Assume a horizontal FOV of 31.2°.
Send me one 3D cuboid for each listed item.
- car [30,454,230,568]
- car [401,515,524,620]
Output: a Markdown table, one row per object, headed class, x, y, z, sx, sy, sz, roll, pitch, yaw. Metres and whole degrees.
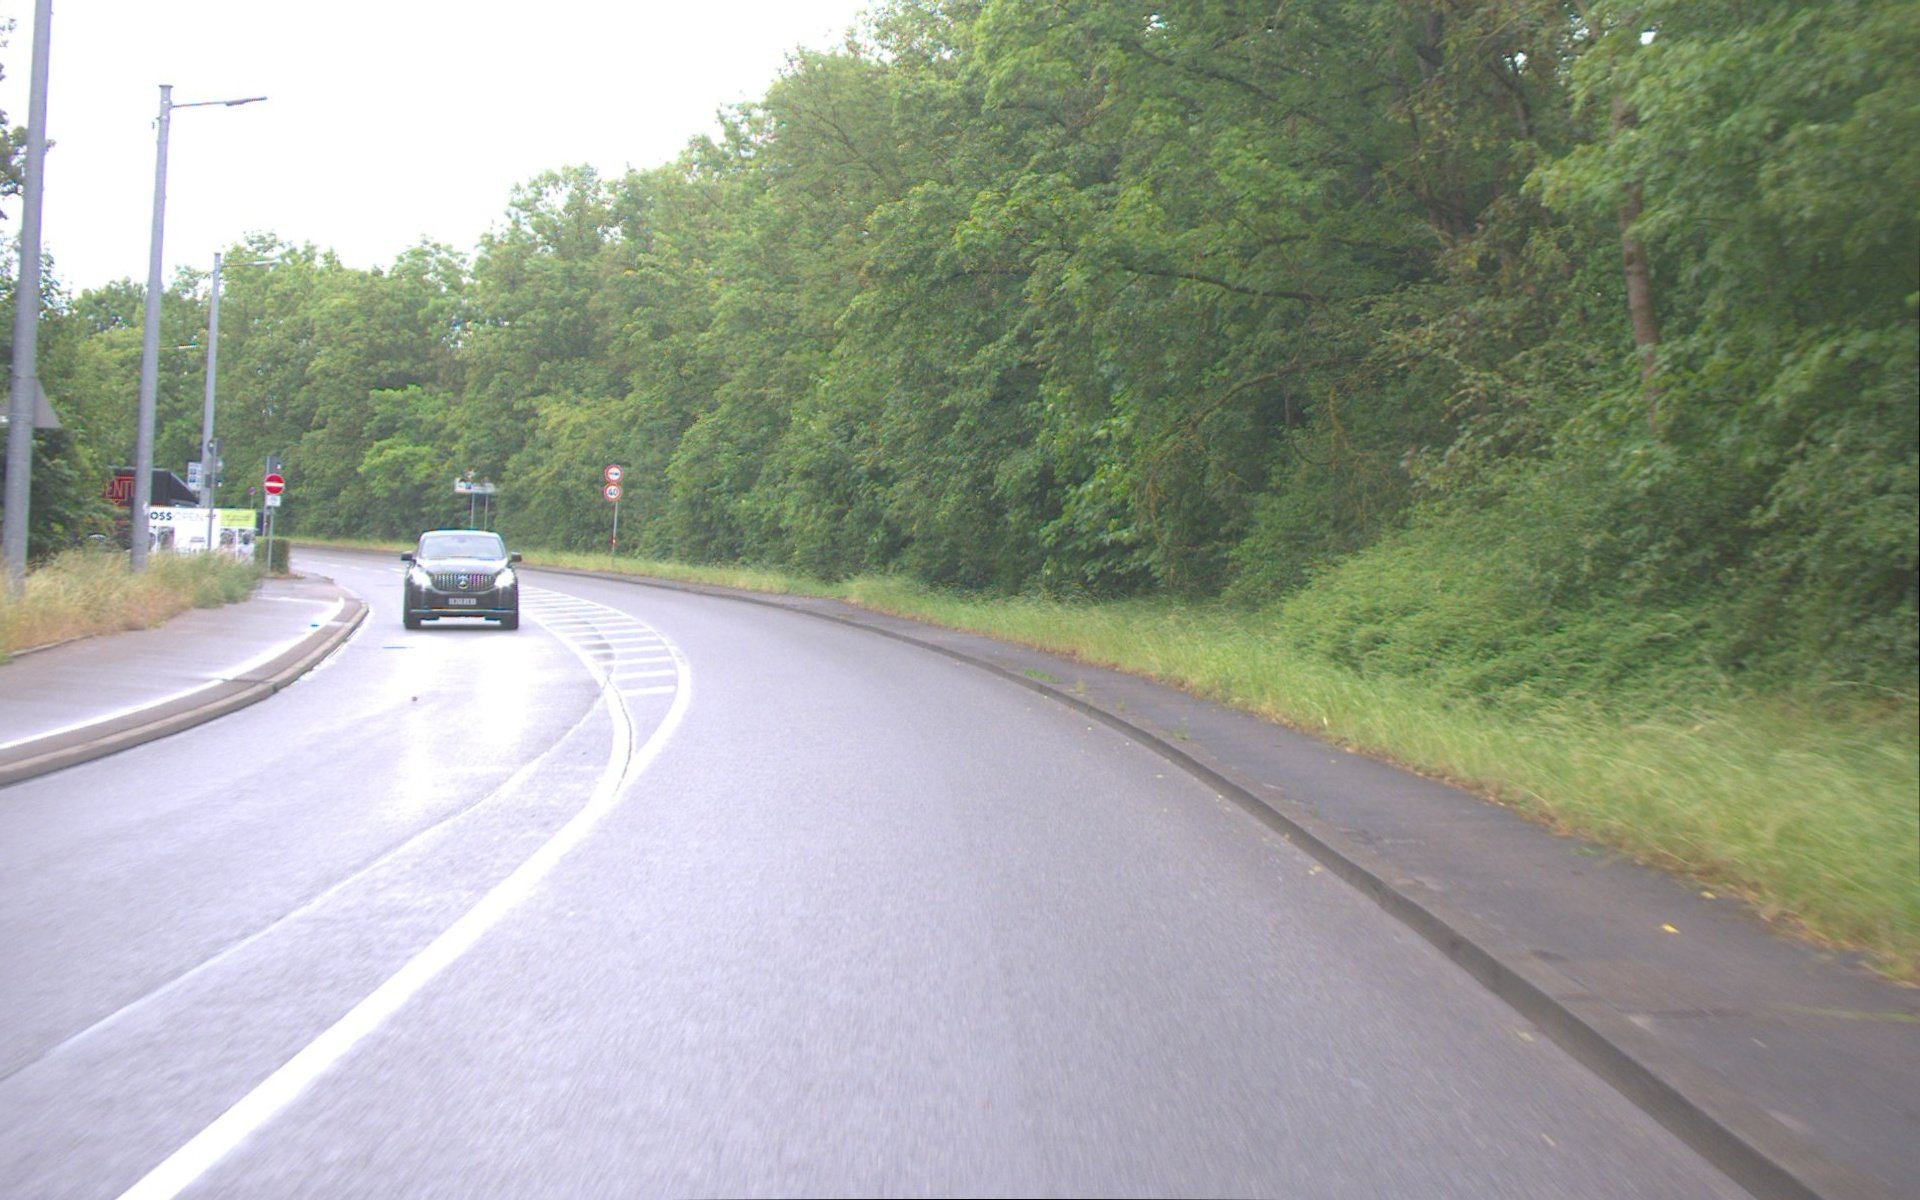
| class | x | y | z | sx | sy | sz | roll | pitch | yaw |
| --- | --- | --- | --- | --- | --- | --- | --- | --- | --- |
| car | -26.290 | -2.810 | 108.853 | 5.945 | 3.490 | 2.001 | 0 | 1 | -20 |
| car | -8.985 | -0.611 | 61.816 | 1.993 | 1.781 | 4.709 | 1 | 1 | -10 |
